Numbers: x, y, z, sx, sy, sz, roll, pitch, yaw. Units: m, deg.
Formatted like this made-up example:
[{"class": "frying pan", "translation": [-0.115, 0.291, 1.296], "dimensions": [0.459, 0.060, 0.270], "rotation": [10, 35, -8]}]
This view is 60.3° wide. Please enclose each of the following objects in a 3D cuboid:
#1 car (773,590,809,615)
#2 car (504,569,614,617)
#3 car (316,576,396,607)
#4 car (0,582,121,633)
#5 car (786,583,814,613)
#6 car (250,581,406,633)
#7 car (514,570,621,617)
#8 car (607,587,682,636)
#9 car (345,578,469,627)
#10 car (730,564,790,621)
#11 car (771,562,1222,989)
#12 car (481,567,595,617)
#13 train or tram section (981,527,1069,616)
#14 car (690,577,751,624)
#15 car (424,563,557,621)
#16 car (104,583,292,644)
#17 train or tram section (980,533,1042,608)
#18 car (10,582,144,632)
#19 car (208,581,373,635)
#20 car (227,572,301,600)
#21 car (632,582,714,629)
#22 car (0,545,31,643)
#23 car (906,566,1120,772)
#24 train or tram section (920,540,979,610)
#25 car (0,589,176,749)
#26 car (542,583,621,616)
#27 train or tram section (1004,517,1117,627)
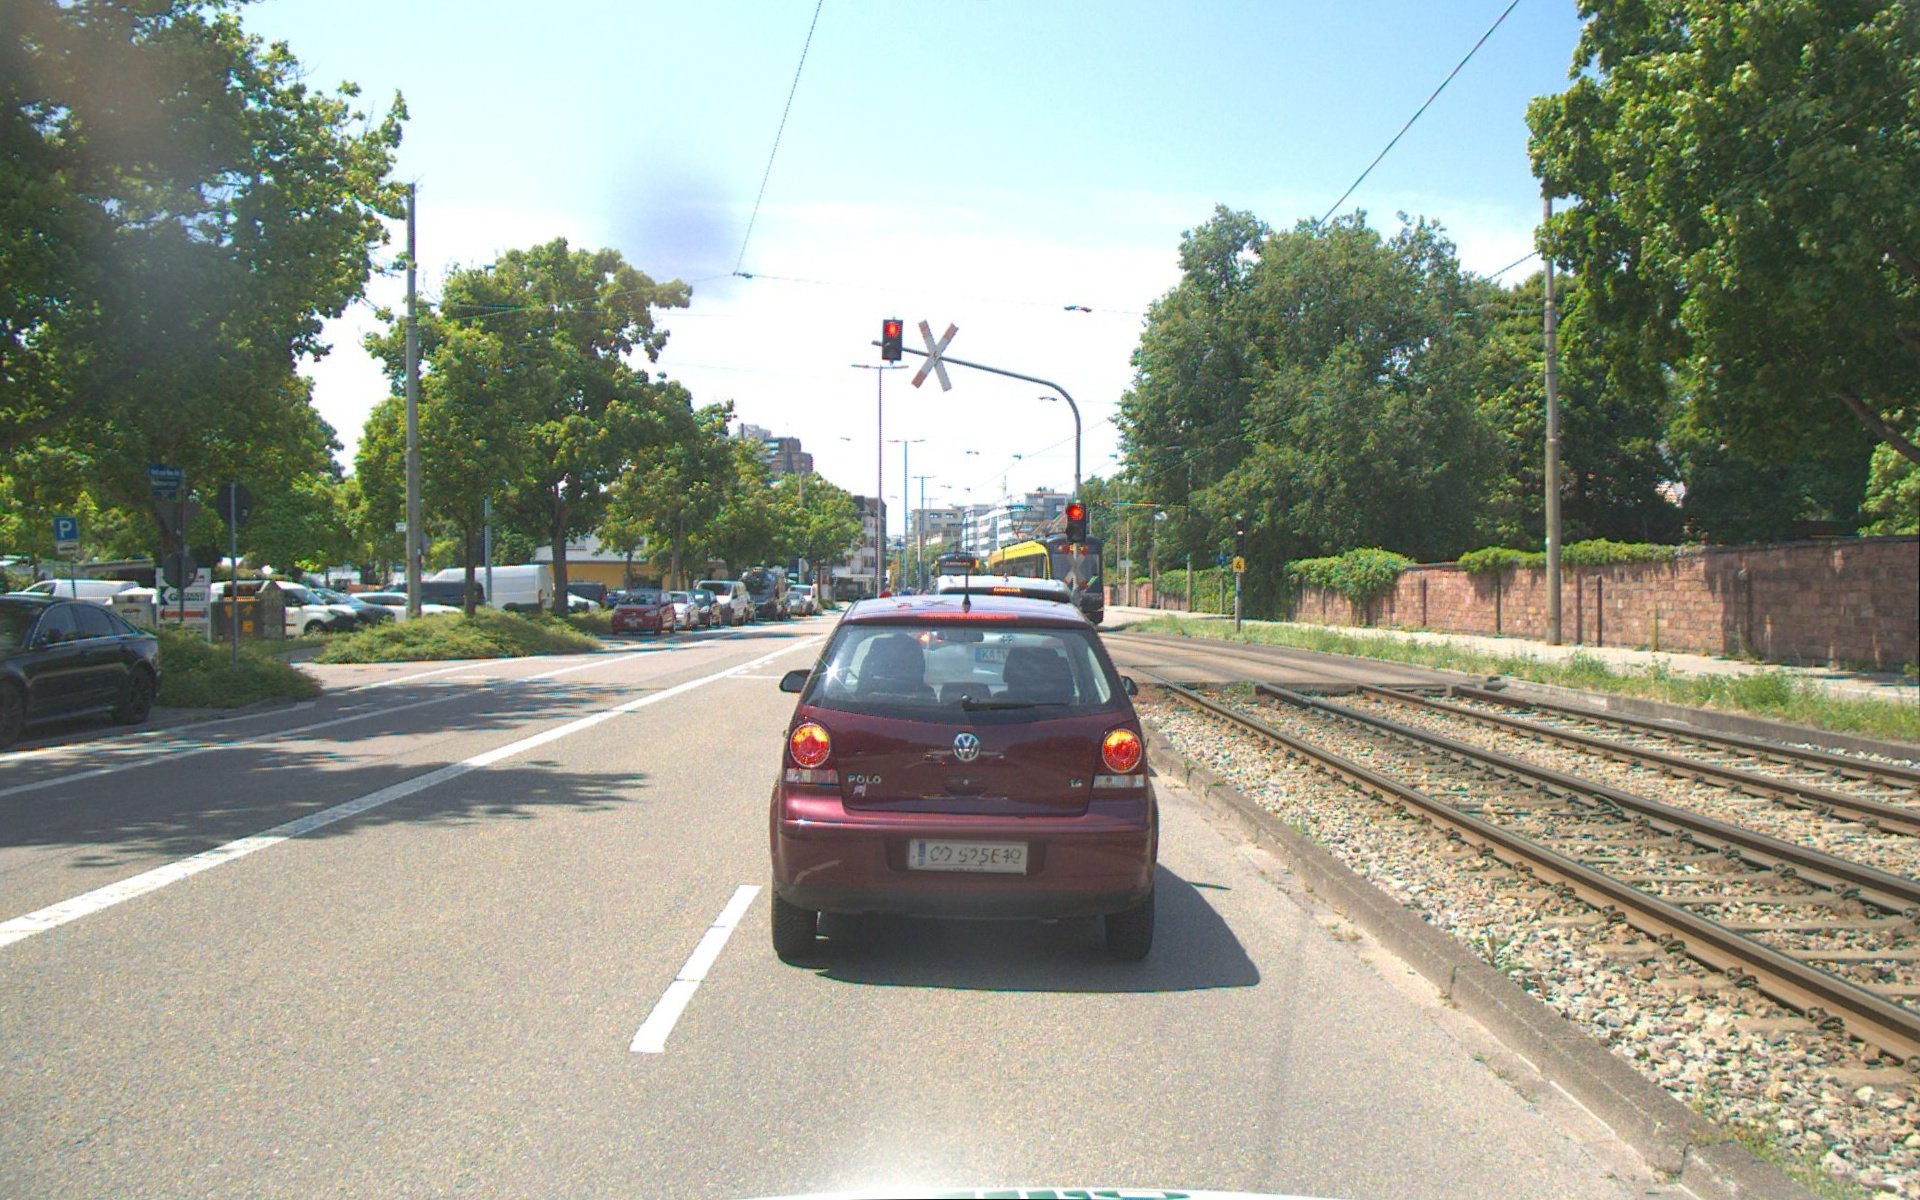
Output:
[{"class": "car", "translation": [-10.466, 0.156, 102.845], "dimensions": [1.581, 1.466, 4.001], "rotation": [2, 0, 3]}, {"class": "car", "translation": [-20.717, -0.353, 85.582], "dimensions": [4.993, 2.283, 2.378], "rotation": [2, -1, 0]}, {"class": "car", "translation": [-35.265, -0.505, 96.616], "dimensions": [3.939, 1.645, 1.816], "rotation": [2, -1, -2]}, {"class": "car", "translation": [-32.425, 0.271, 59.131], "dimensions": [3.913, 1.682, 1.812], "rotation": [2, -1, -9]}, {"class": "car", "translation": [-10.522, -0.128, 108.503], "dimensions": [1.741, 1.860, 3.995], "rotation": [2, 0, -6]}, {"class": "car", "translation": [-20.341, 0.213, 53.316], "dimensions": [4.251, 1.612, 1.914], "rotation": [0, 0, 5]}, {"class": "car", "translation": [-20.897, -0.343, 88.219], "dimensions": [4.993, 2.283, 2.378], "rotation": [2, -1, 0]}, {"class": "car", "translation": [-10.513, 0.395, 55.389], "dimensions": [1.628, 1.523, 4.000], "rotation": [2, 0, 1]}, {"class": "car", "translation": [-20.476, 0.082, 61.347], "dimensions": [3.906, 1.776, 1.998], "rotation": [0, 0, -2]}, {"class": "car", "translation": [-10.254, -0.347, 85.226], "dimensions": [2.313, 2.739, 5.307], "rotation": [2, 0, 0]}, {"class": "car", "translation": [0.090, 0.639, 8.152], "dimensions": [1.638, 1.548, 3.999], "rotation": [2, 0, -2]}, {"class": "car", "translation": [-21.174, -0.386, 83.108], "dimensions": [4.993, 2.283, 2.378], "rotation": [2, -1, 0]}, {"class": "train or tram section", "translation": [2.916, -1.292, 78.119], "dimensions": [2.968, 3.864, 13.082], "rotation": [0, 0, -3]}, {"class": "car", "translation": [-10.407, 0.057, 72.180], "dimensions": [1.746, 1.914, 4.787], "rotation": [2, 0, 2]}, {"class": "car", "translation": [-20.346, -0.333, 71.900], "dimensions": [4.993, 2.283, 2.378], "rotation": [2, -1, 0]}, {"class": "car", "translation": [-20.910, 0.345, 45.499], "dimensions": [4.256, 1.612, 1.912], "rotation": [0, 0, -3]}, {"class": "train or tram section", "translation": [2.695, -1.577, 90.971], "dimensions": [2.966, 3.864, 12.760], "rotation": [0, 1, 0]}, {"class": "car", "translation": [-32.800, 0.273, 61.534], "dimensions": [3.913, 1.682, 1.812], "rotation": [2, -1, -9]}, {"class": "car", "translation": [-20.423, 0.238, 50.520], "dimensions": [4.251, 1.612, 1.914], "rotation": [0, 0, 5]}, {"class": "car", "translation": [-44.906, -0.888, 106.804], "dimensions": [3.938, 1.645, 1.816], "rotation": [2, -1, 0]}, {"class": "car", "translation": [-10.703, 0.221, 61.936], "dimensions": [1.934, 1.629, 4.560], "rotation": [2, 0, 4]}, {"class": "car", "translation": [-33.076, -0.297, 51.566], "dimensions": [6.714, 3.017, 2.363], "rotation": [2, -1, -2]}, {"class": "car", "translation": [0.389, 0.558, 15.787], "dimensions": [1.741, 1.676, 3.999], "rotation": [2, 0, -2]}, {"class": "train or tram section", "translation": [-0.731, -1.424, 95.872], "dimensions": [2.686, 3.672, 12.862], "rotation": [2, 1, -3]}, {"class": "car", "translation": [-10.300, 0.665, 17.642], "dimensions": [1.782, 1.502, 4.448], "rotation": [2, 0, -1]}, {"class": "car", "translation": [-21.140, -0.024, 92.578], "dimensions": [3.938, 1.645, 1.816], "rotation": [2, -1, 0]}, {"class": "train or tram section", "translation": [3.736, -1.054, 65.122], "dimensions": [2.968, 3.864, 13.082], "rotation": [0, 0, -3]}]
